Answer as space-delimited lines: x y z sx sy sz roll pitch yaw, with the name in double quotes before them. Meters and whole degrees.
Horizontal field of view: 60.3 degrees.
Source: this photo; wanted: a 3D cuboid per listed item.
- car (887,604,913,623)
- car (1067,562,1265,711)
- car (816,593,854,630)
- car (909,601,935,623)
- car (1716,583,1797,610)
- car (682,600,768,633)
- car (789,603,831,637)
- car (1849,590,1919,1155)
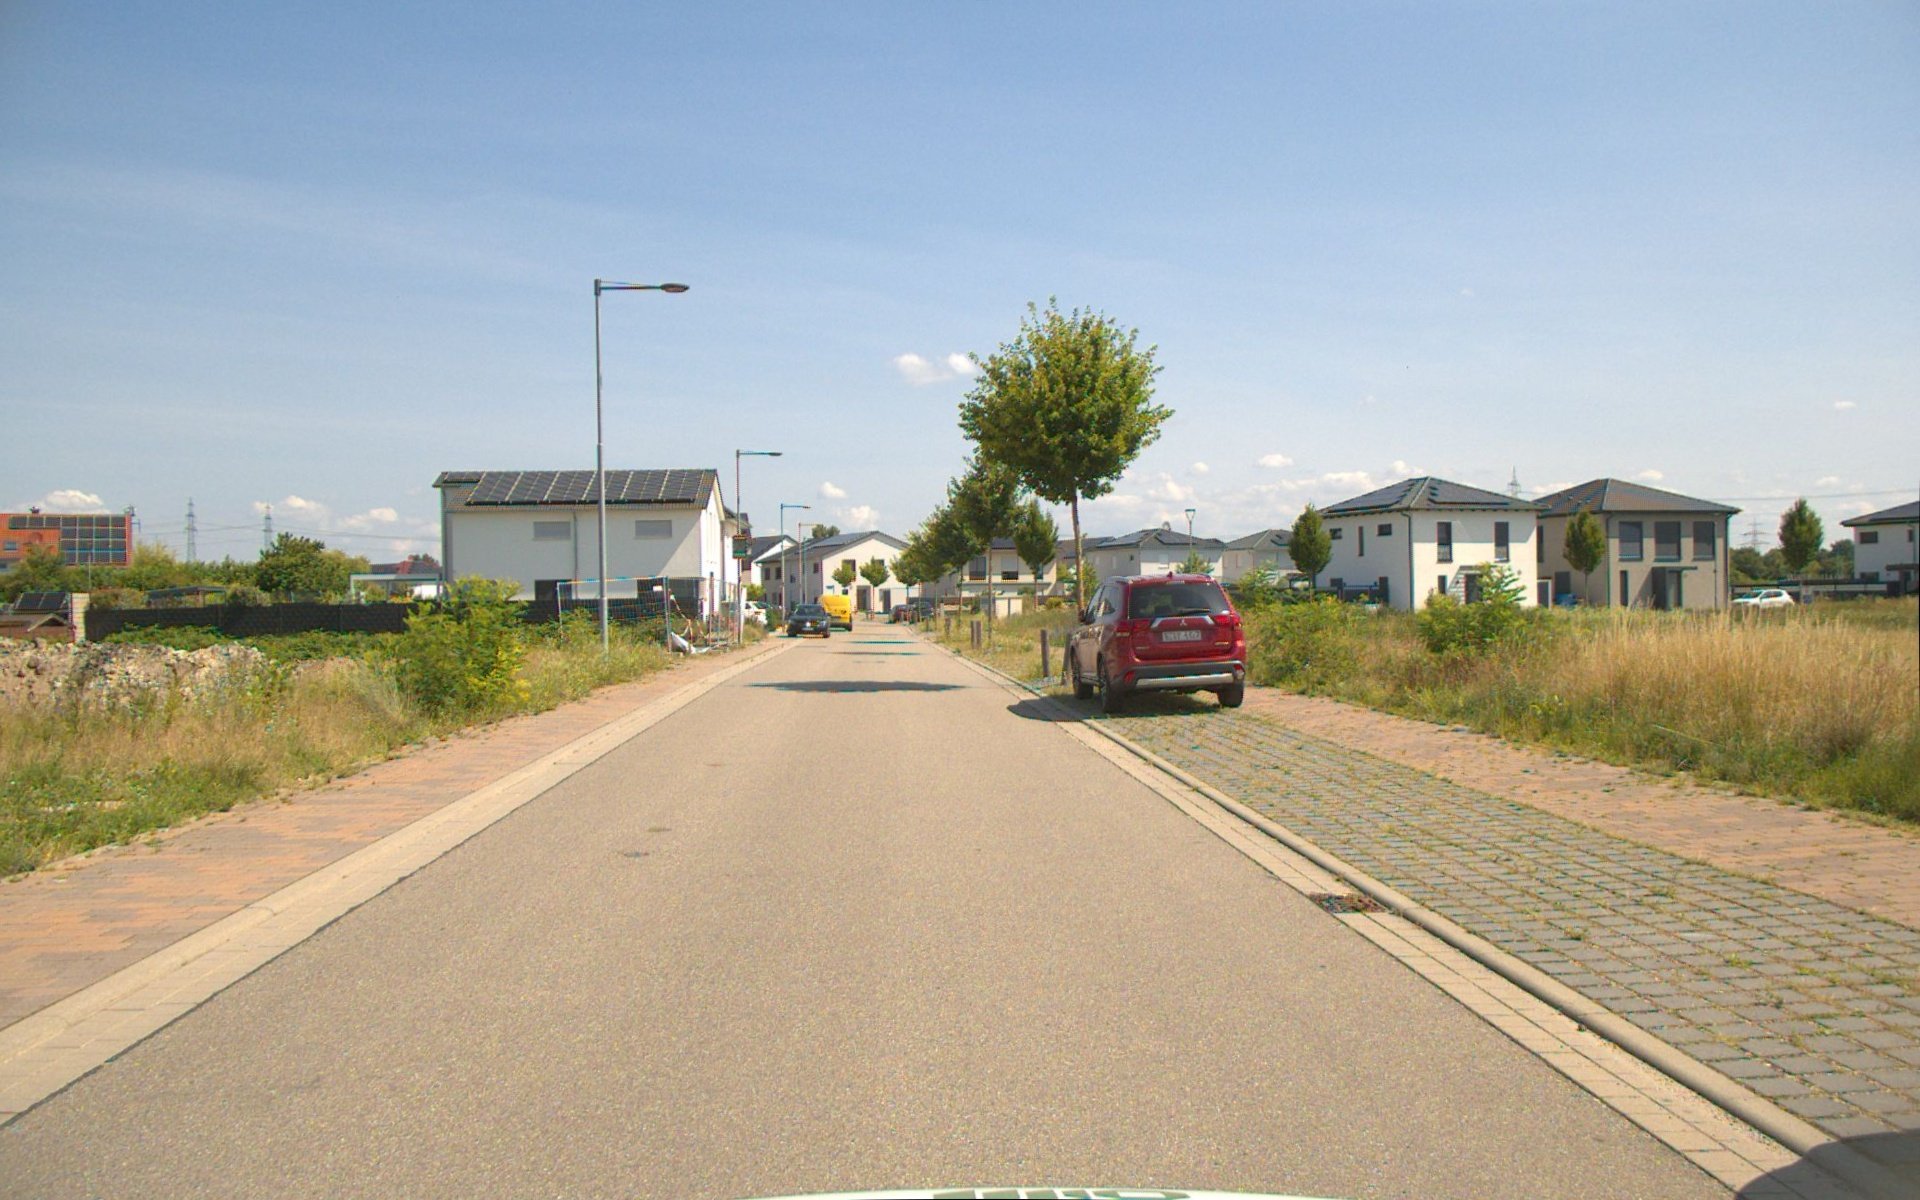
"car" -4.811 1.062 132.356 1.598 1.346 3.824 -1 -2 -10
"car" 2.597 0.417 21.899 1.742 1.692 4.430 -2 0 -4
"car" -7.081 0.681 93.492 1.904 2.016 4.210 -1 -1 -7
"car" -2.628 0.845 113.854 1.607 1.427 3.807 -1 -2 -4
"car" 44.442 -0.175 92.328 3.924 1.422 1.742 -1 -1 -17
"car" -11.850 0.819 83.550 3.984 1.609 1.785 0 1 2
"car" -6.626 0.873 73.386 1.711 1.429 4.157 1 0 -4
"car" 3.391 0.674 2.424 1.740 1.444 4.163 -3 1 -3
